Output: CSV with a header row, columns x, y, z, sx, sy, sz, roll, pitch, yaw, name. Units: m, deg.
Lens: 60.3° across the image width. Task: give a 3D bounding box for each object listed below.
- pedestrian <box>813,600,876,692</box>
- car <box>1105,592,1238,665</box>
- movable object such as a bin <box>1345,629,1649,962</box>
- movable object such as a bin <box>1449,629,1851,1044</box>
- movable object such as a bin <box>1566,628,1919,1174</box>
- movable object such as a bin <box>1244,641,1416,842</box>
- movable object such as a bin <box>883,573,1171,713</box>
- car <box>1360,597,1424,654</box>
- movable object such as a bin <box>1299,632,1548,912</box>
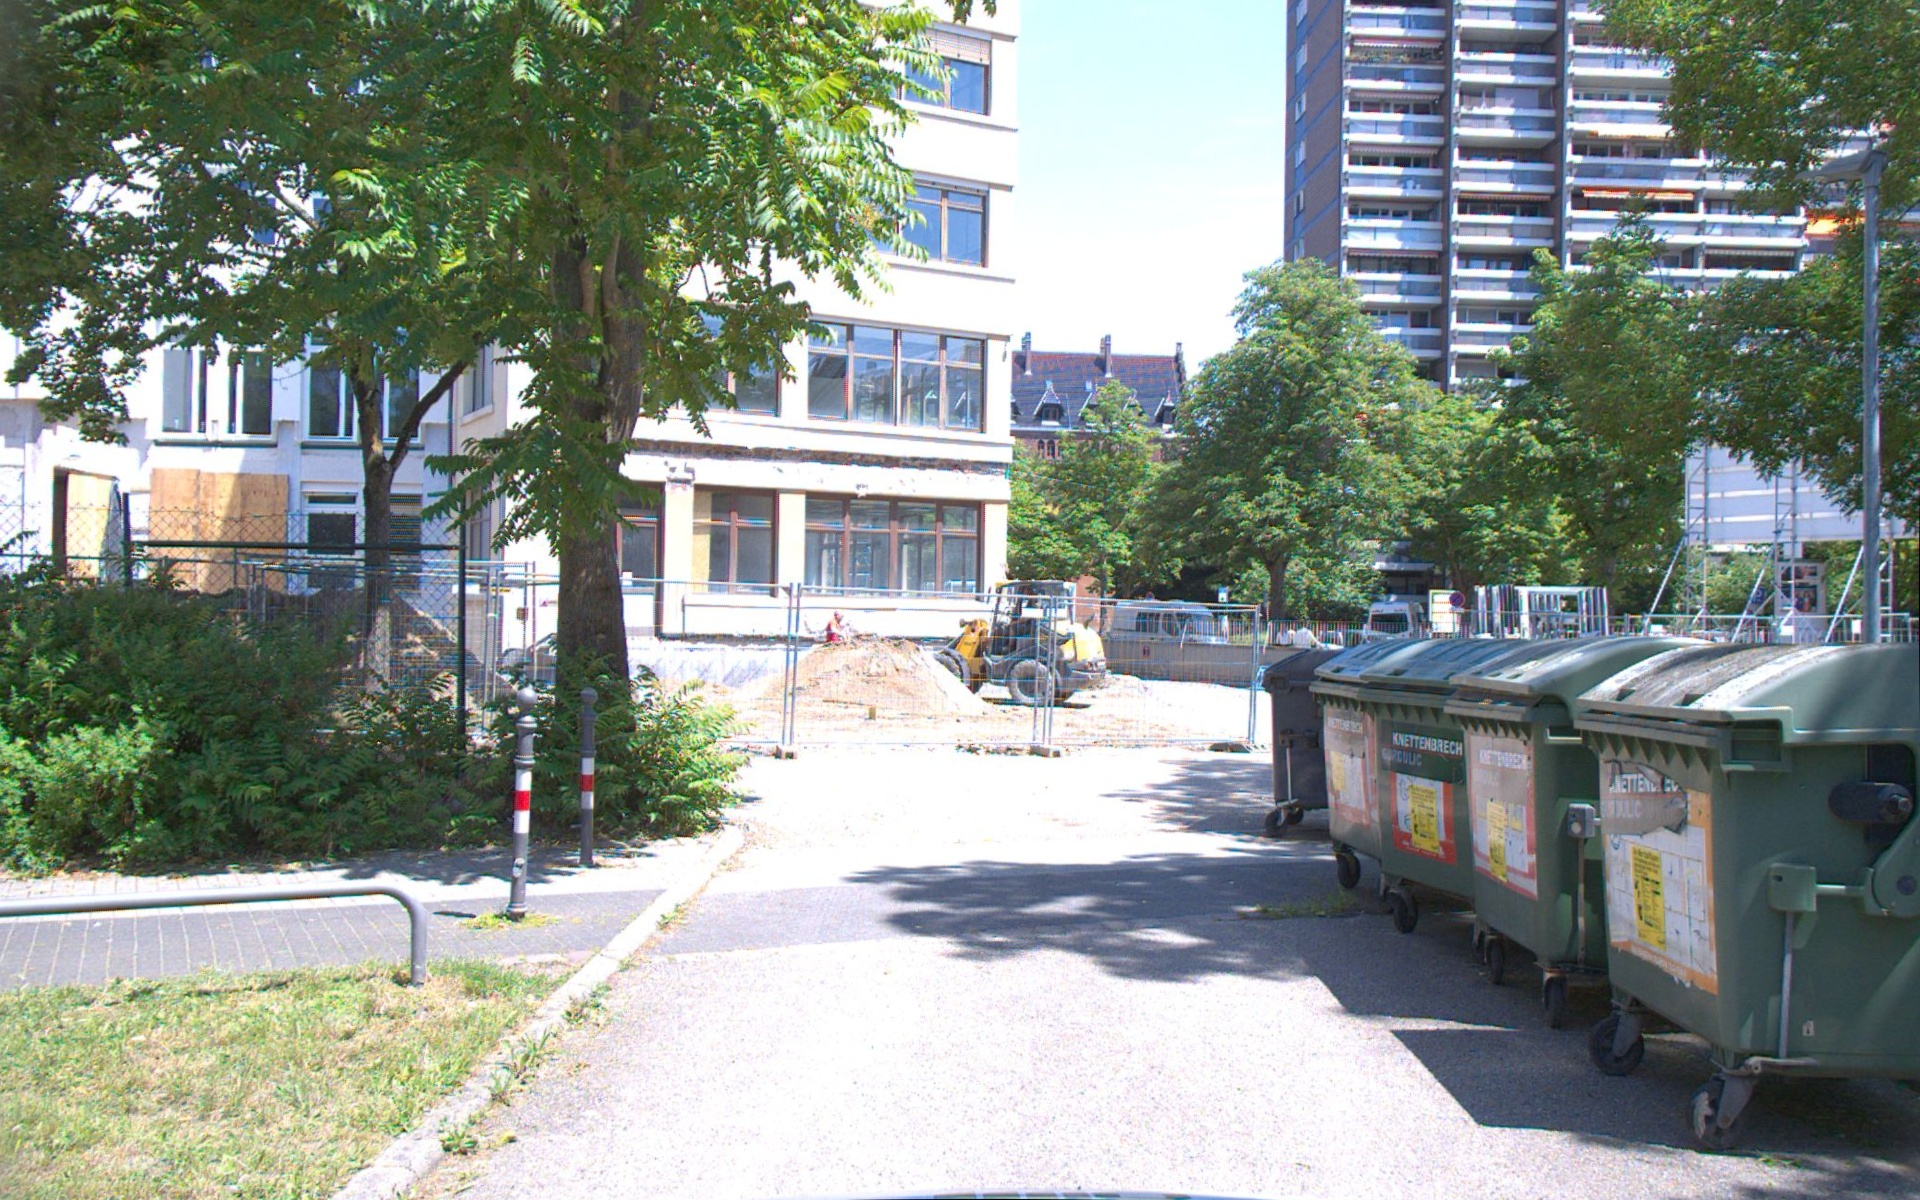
x,y,z,sx,sy,sz,roll,pitch,yaw,name
-2.431,0.960,34.827,0.963,1.879,0.916,0,-1,26,pedestrian
7.400,0.994,58.380,1.972,2.459,5.192,1,-1,-29,car
2.583,0.891,8.138,1.053,1.483,1.377,1,-1,0,movable object such as a bin
2.700,0.866,6.667,1.053,1.483,1.377,1,-1,0,movable object such as a bin
2.689,0.839,5.224,1.053,1.483,1.377,1,-1,0,movable object such as a bin
2.886,1.075,13.067,1.053,1.483,1.377,1,-1,0,movable object such as a bin
1.360,0.821,33.709,5.297,2.507,2.366,2,-1,26,movable object such as a bin
18.449,1.103,70.480,2.139,2.298,4.869,0,-1,21,car
2.629,0.933,9.560,1.053,1.483,1.377,1,-1,0,movable object such as a bin
